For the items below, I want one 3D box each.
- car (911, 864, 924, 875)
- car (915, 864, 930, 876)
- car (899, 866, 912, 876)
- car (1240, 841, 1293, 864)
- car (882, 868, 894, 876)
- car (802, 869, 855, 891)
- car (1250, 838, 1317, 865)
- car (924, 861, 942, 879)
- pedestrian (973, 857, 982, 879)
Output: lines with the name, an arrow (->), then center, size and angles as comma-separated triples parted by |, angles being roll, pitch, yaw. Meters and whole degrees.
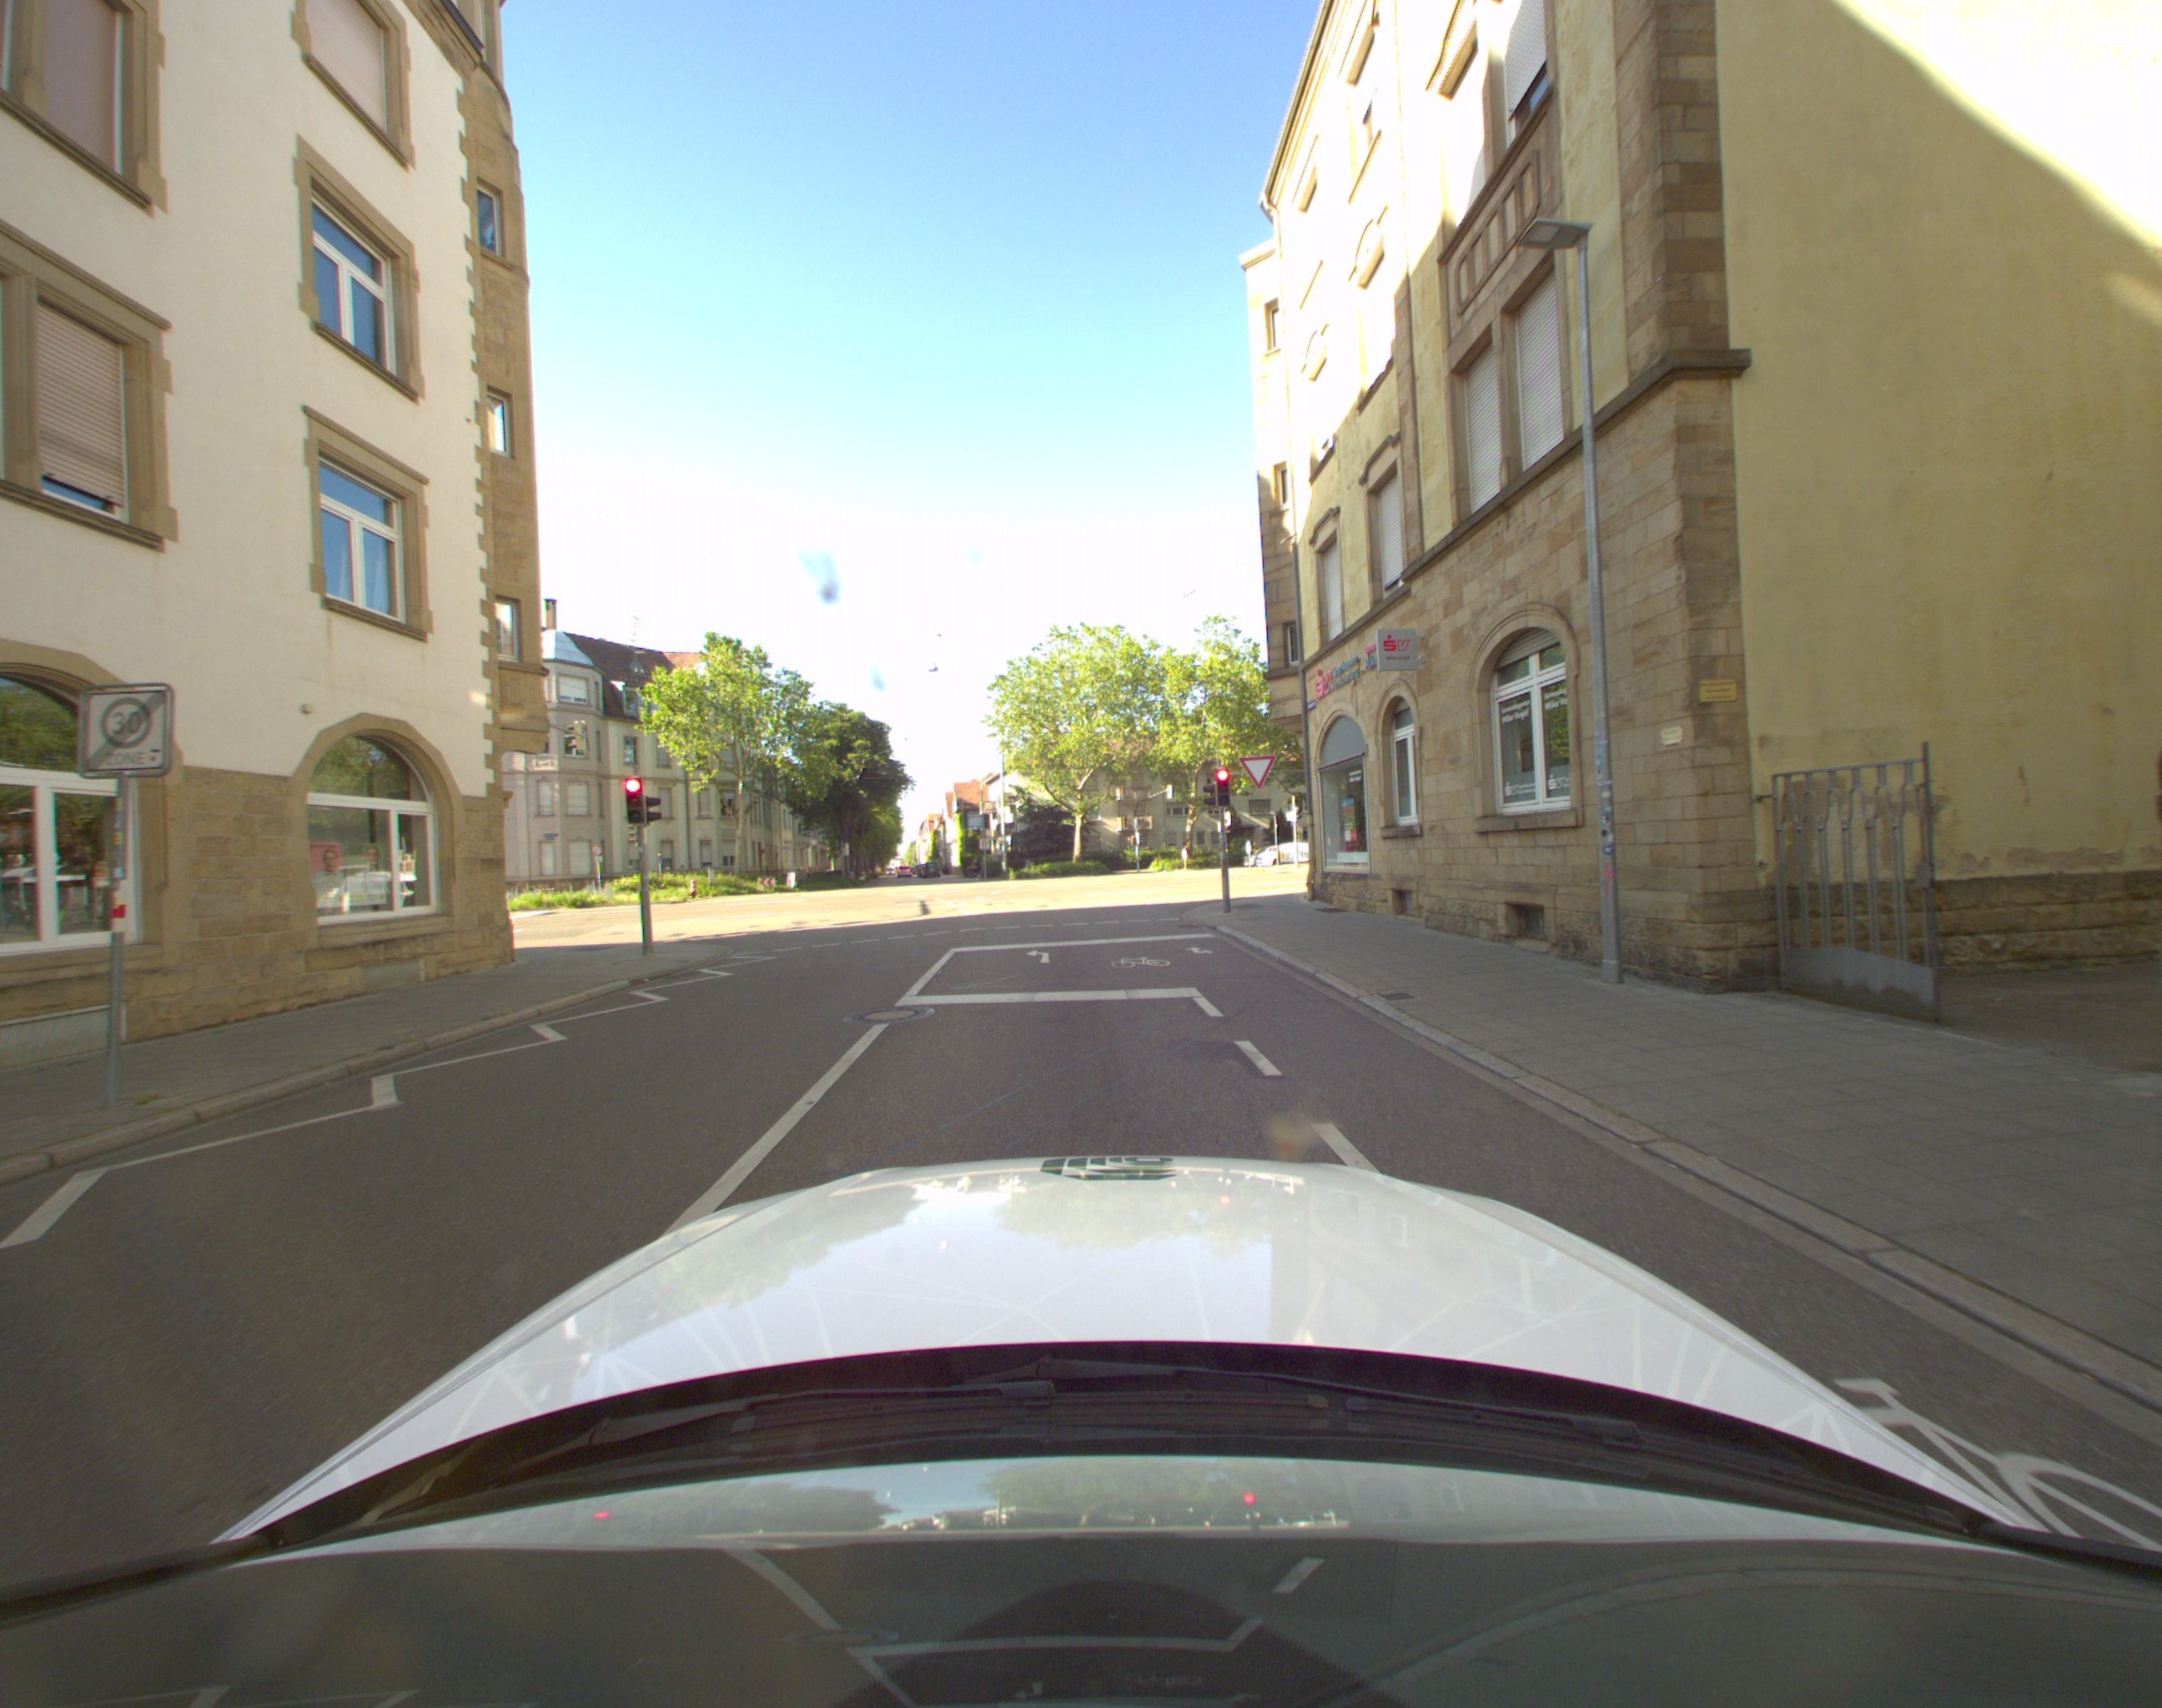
car -> -30.112, 2.832, 150.303 | 1.998, 1.832, 3.977 | -2, -1, -16
car -> -25.188, 2.541, 129.604 | 1.998, 1.832, 3.977 | -2, -1, -16
car -> -25.145, 2.437, 116.797 | 1.675, 1.483, 3.508 | -2, -1, -11
car -> 13.300, -0.089, 58.361 | 3.394, 1.487, 1.513 | -3, 0, -23
car -> -36.422, 3.414, 153.504 | 1.997, 1.445, 3.980 | -3, 0, -15
car -> -20.747, 2.111, 66.890 | 4.000, 1.486, 1.671 | -3, 0, -20
car -> 12.816, -0.151, 51.586 | 3.801, 1.472, 1.618 | -3, 0, -21
car -> -18.041, 1.922, 99.215 | 1.994, 2.013, 3.986 | -3, 0, -10
pedestrian -> -8.243, 1.110, 64.858 | 0.632, 1.750, 0.658 | -2, -1, -5
